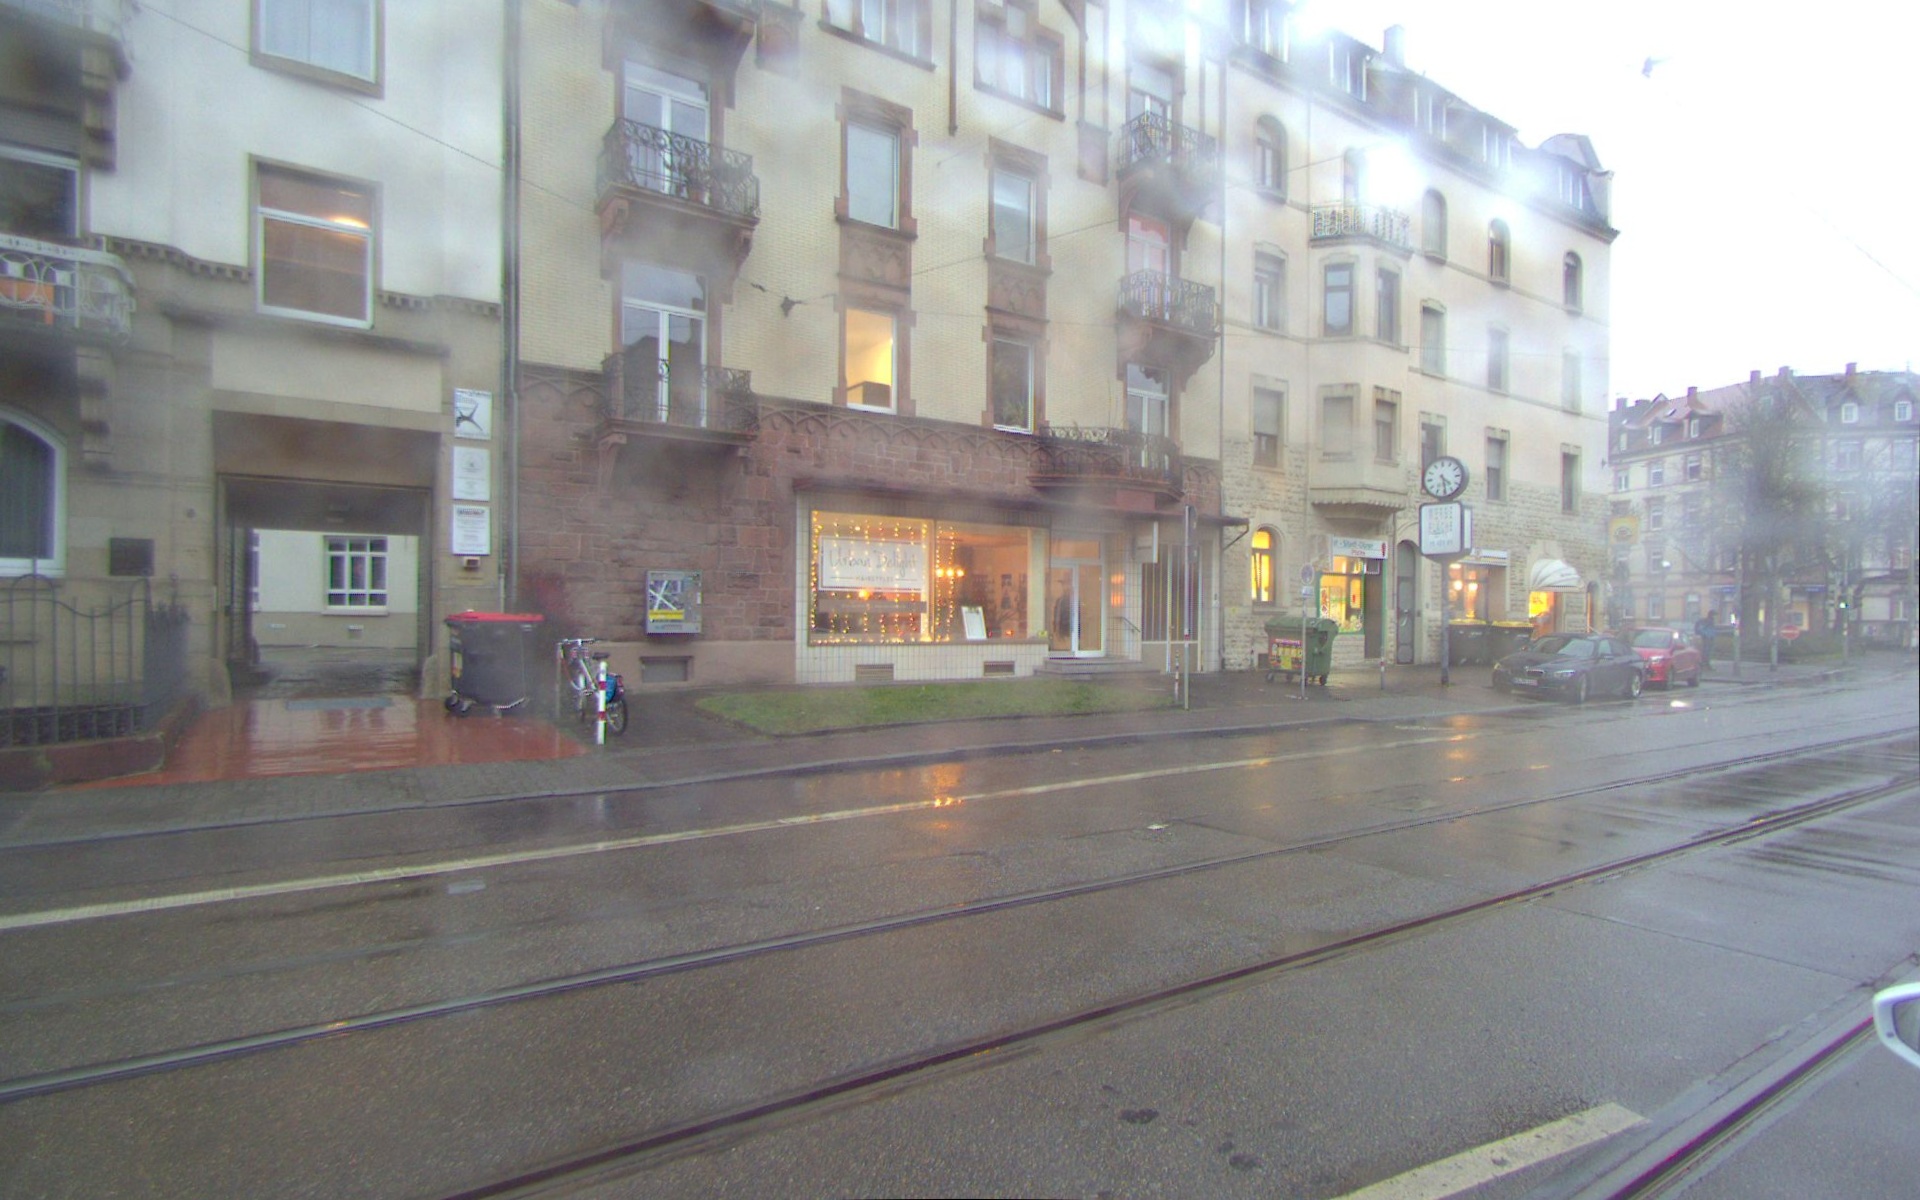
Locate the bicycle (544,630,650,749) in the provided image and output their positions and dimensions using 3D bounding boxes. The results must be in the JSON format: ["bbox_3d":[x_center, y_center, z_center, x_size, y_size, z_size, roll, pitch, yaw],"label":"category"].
[{"bbox_3d":[-4.294,0.977,11.761,0.687,1.120,2.336,1,1,-32],"label":"bicycle"}]

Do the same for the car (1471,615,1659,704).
[{"bbox_3d":[13.817,1.304,22.865,4.587,1.667,1.972,2,3,-37],"label":"car"}]

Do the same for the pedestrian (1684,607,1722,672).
[{"bbox_3d":[23.779,1.239,32.155,0.635,2.040,0.758,1,0,3],"label":"pedestrian"}]

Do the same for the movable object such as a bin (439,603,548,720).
[{"bbox_3d":[-6.108,0.769,13.142,1.155,1.398,1.096,1,2,-32],"label":"movable object such as a bin"}]

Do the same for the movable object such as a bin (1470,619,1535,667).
[{"bbox_3d":[16.305,1.267,30.200,1.239,1.385,1.286,1,0,-34],"label":"movable object such as a bin"}]

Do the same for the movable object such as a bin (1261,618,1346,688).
[{"bbox_3d":[7.480,1.132,21.873,1.236,1.439,1.260,1,0,-33],"label":"movable object such as a bin"}]

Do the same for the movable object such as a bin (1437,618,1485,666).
[{"bbox_3d":[14.931,1.239,29.933,0.996,1.396,0.893,1,0,-33],"label":"movable object such as a bin"}]

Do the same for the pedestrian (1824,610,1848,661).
[{"bbox_3d":[35.475,1.446,40.679,0.695,2.040,0.658,0,0,37],"label":"pedestrian"}]

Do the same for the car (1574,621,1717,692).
[{"bbox_3d":[18.327,1.430,26.803,3.997,1.573,2.021,0,3,-39],"label":"car"}]
